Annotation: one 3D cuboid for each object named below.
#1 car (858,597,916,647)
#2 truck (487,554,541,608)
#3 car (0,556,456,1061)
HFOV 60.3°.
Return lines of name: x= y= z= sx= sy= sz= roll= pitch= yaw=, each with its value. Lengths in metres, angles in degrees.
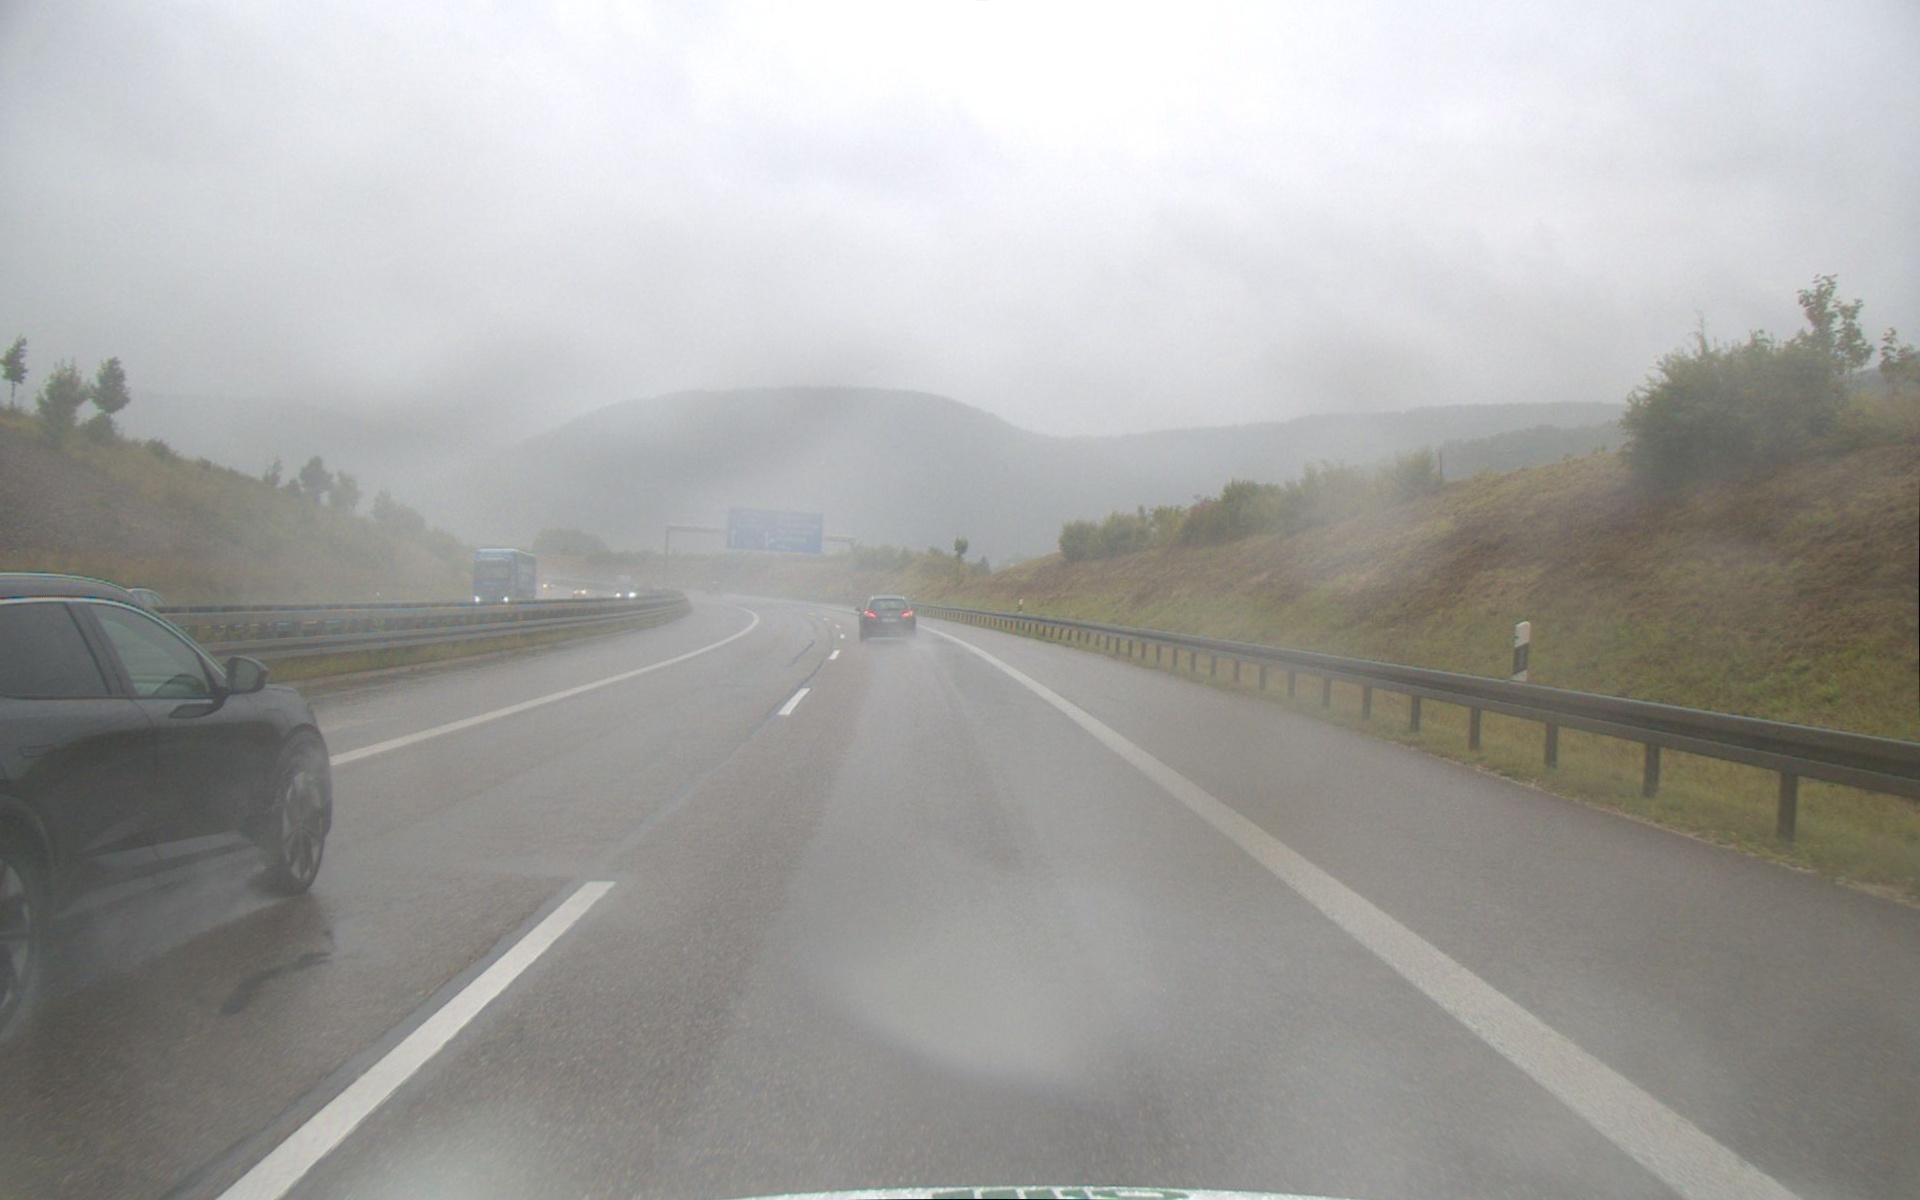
car: x=-2.300 y=0.669 z=52.746 sx=1.645 sy=1.498 sz=3.814 roll=1 pitch=0 yaw=0
truck: x=-31.497 y=-1.323 z=117.058 sx=2.726 sy=3.748 sz=6.199 roll=0 pitch=0 yaw=-6
car: x=-4.059 y=0.615 z=6.861 sx=2.356 sy=1.542 sz=4.784 roll=1 pitch=0 yaw=1
